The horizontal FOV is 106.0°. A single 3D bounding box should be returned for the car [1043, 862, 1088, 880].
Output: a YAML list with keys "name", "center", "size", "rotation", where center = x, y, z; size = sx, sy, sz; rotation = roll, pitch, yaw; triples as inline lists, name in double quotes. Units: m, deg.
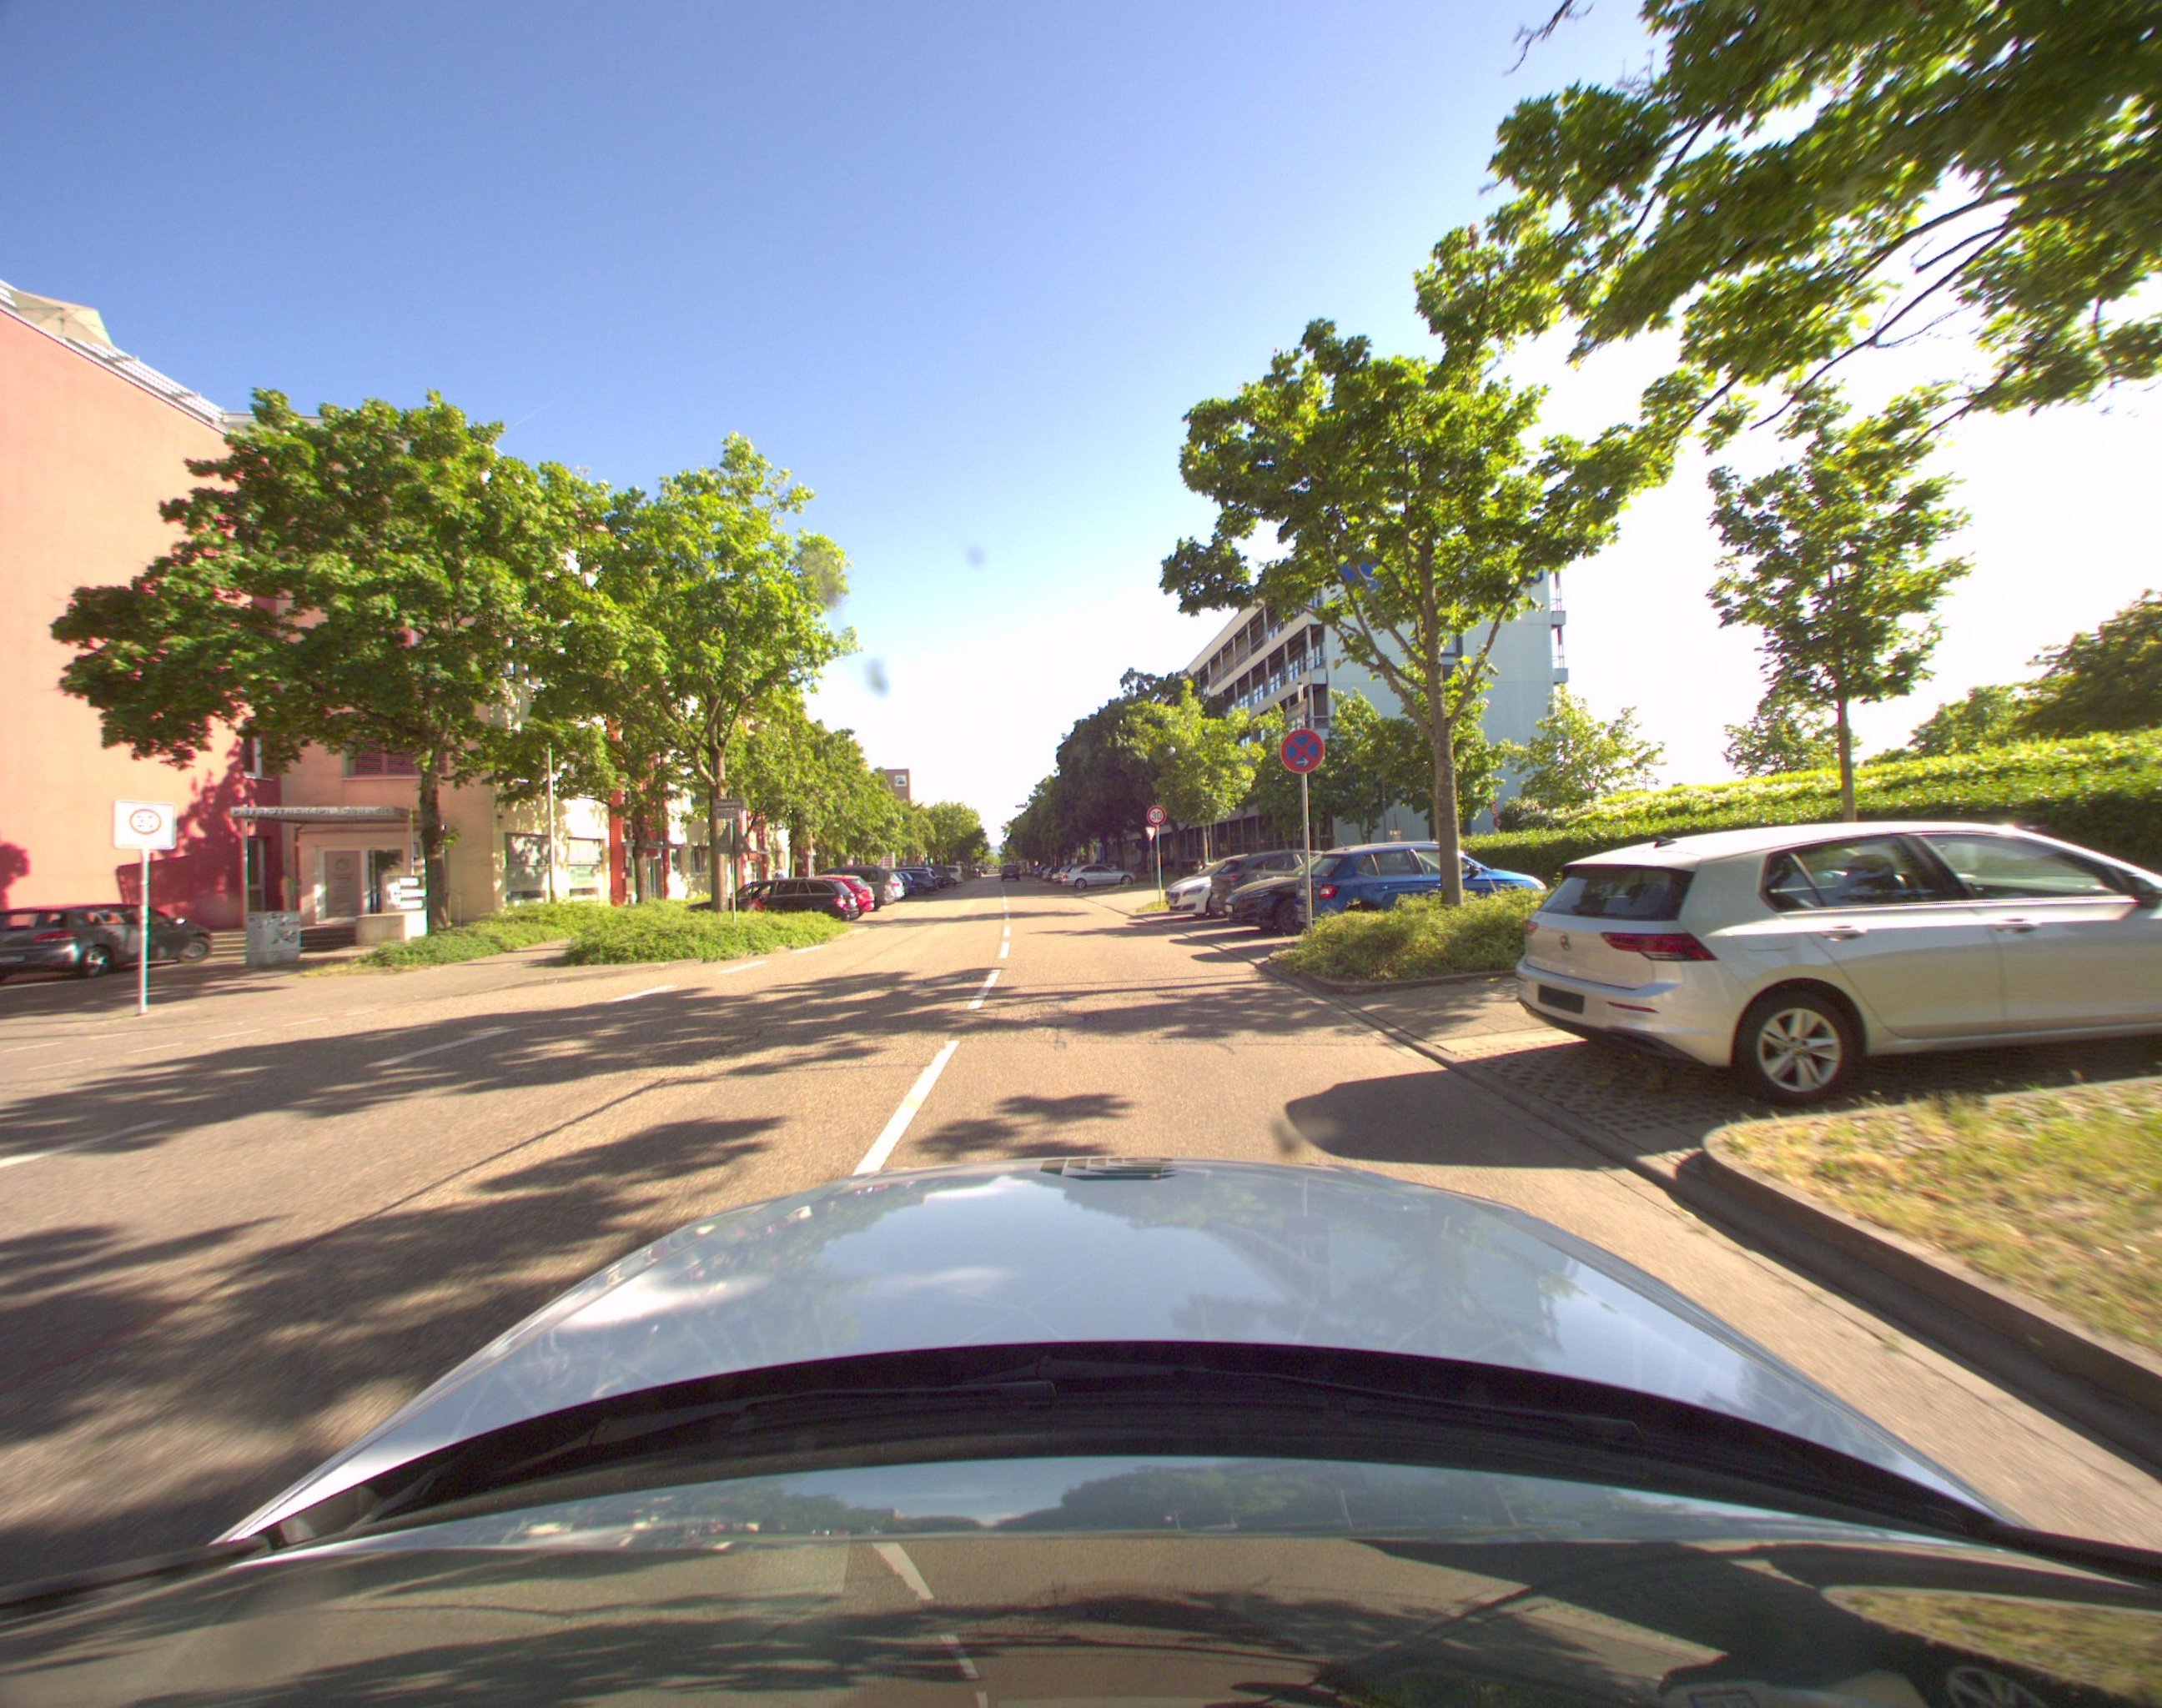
- name: "car"
  center: [-1.422, 1.596, 76.006]
  size: [3.967, 1.420, 1.705]
  rotation: [-4, -1, -8]

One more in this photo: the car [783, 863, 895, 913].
- name: "car"
  center: [-9.392, 1.302, 31.845]
  size: [3.886, 1.811, 1.782]
  rotation: [-1, -1, -6]

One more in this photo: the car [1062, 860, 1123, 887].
- name: "car"
  center: [0.722, 1.283, 53.774]
  size: [3.829, 1.447, 1.920]
  rotation: [-4, -1, -3]

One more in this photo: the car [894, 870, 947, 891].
- name: "car"
  center: [-11.645, 1.926, 59.153]
  size: [3.729, 1.427, 1.718]
  rotation: [-1, -1, -12]

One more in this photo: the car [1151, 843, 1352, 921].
- name: "car"
  center: [4.315, 0.693, 20.882]
  size: [4.553, 1.515, 1.974]
  rotation: [-5, -1, -12]

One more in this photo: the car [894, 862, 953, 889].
- name: "car"
  center: [-12.809, 1.716, 66.543]
  size: [4.479, 2.090, 2.080]
  rotation: [-1, -1, -4]

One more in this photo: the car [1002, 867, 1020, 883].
- name: "car"
  center: [-7.783, 2.312, 90.146]
  size: [1.991, 1.640, 3.991]
  rotation: [-1, -1, -6]

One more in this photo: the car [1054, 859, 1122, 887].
- name: "car"
  center: [0.439, 1.288, 56.114]
  size: [4.504, 1.542, 1.920]
  rotation: [-4, -1, -3]

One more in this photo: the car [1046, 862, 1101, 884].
- name: "car"
  center: [-0.630, 1.585, 68.066]
  size: [4.283, 1.493, 1.998]
  rotation: [-4, -1, -8]

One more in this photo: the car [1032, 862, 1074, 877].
- name: "car"
  center: [-3.372, 1.834, 97.755]
  size: [4.822, 1.420, 2.026]
  rotation: [-4, -1, -8]

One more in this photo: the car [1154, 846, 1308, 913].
- name: "car"
  center: [4.289, 0.717, 23.499]
  size: [3.951, 1.515, 1.694]
  rotation: [-5, -1, -12]

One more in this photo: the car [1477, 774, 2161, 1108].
- name: "car"
  center: [4.997, 0.425, 5.148]
  size: [4.075, 1.429, 1.643]
  rotation: [-6, -1, 1]

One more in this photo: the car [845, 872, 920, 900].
- name: "car"
  center: [-10.726, 1.725, 44.205]
  size: [3.722, 1.427, 1.836]
  rotation: [-1, -1, -7]

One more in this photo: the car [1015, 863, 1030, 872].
- name: "car"
  center: [-16.103, 3.694, 222.796]
  size: [3.984, 2.014, 1.994]
  rotation: [-3, -1, -8]

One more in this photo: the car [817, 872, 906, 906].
- name: "car"
  center: [-9.913, 1.552, 37.003]
  size: [3.726, 1.447, 1.870]
  rotation: [-1, -1, -10]

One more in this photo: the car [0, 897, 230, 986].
- name: "car"
  center: [-20.458, 1.756, 17.091]
  size: [1.738, 1.443, 4.108]
  rotation: [-3, 0, -17]

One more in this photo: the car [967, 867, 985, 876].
- name: "car"
  center: [-25.782, 4.283, 200.184]
  size: [3.977, 2.014, 1.998]
  rotation: [-3, -1, -2]

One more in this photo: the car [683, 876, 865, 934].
- name: "car"
  center: [-8.226, 1.342, 22.124]
  size: [4.252, 1.423, 1.738]
  rotation: [-1, -1, -3]

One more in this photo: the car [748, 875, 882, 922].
- name: "car"
  center: [-8.727, 1.435, 26.984]
  size: [3.886, 1.423, 1.736]
  rotation: [-1, -1, -6]

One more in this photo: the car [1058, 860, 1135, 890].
- name: "car"
  center: [0.960, 1.315, 50.840]
  size: [4.572, 1.475, 1.743]
  rotation: [-4, -1, -6]

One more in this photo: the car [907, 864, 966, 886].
- name: "car"
  center: [-13.538, 1.933, 76.537]
  size: [5.251, 1.967, 1.938]
  rotation: [-1, -1, -6]

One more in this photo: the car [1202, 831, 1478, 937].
- name: "car"
  center: [4.882, 0.553, 15.810]
  size: [4.543, 1.515, 2.154]
  rotation: [-5, -1, -6]

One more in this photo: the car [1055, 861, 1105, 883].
- name: "car"
  center: [-0.092, 1.424, 65.762]
  size: [3.744, 1.493, 1.611]
  rotation: [-4, -1, -10]

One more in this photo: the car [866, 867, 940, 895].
- name: "car"
  center: [-11.295, 1.694, 51.926]
  size: [4.308, 1.717, 1.961]
  rotation: [-1, -1, -1]

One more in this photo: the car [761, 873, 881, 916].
- name: "car"
  center: [-9.447, 1.451, 29.837]
  size: [3.886, 1.423, 1.736]
  rotation: [-1, -1, -6]

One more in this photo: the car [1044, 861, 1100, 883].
- name: "car"
  center: [-0.826, 1.554, 70.363]
  size: [4.586, 1.493, 1.759]
  rotation: [-5, -1, -6]

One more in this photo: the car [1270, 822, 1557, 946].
- name: "car"
  center: [5.230, 0.463, 13.121]
  size: [3.799, 1.448, 1.742]
  rotation: [-6, -1, -4]

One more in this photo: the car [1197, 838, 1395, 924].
- name: "car"
  center: [4.763, 0.596, 18.358]
  size: [3.870, 1.515, 1.747]
  rotation: [-5, -1, -6]

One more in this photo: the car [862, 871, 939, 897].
- name: "car"
  center: [-10.867, 1.794, 49.319]
  size: [4.400, 1.427, 1.767]
  rotation: [-1, -1, -8]

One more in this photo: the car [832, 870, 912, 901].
- name: "car"
  center: [-10.686, 1.610, 41.865]
  size: [3.722, 1.508, 1.855]
  rotation: [-1, -1, -7]

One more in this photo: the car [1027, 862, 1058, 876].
- name: "car"
  center: [-5.701, 2.228, 120.226]
  size: [4.350, 1.704, 1.807]
  rotation: [-4, -1, -9]

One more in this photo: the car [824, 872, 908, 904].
- name: "car"
  center: [-10.312, 1.614, 39.327]
  size: [3.726, 1.447, 1.853]
  rotation: [-1, -1, -10]

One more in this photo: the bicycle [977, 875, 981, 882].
- name: "bicycle"
  center: [-17.090, 4.145, 136.592]
  size: [0.531, 1.072, 1.298]
  rotation: [-3, -1, -3]

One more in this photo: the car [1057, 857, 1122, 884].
- name: "car"
  center: [0.615, 1.187, 58.497]
  size: [4.503, 1.542, 1.920]
  rotation: [-4, -1, -2]
